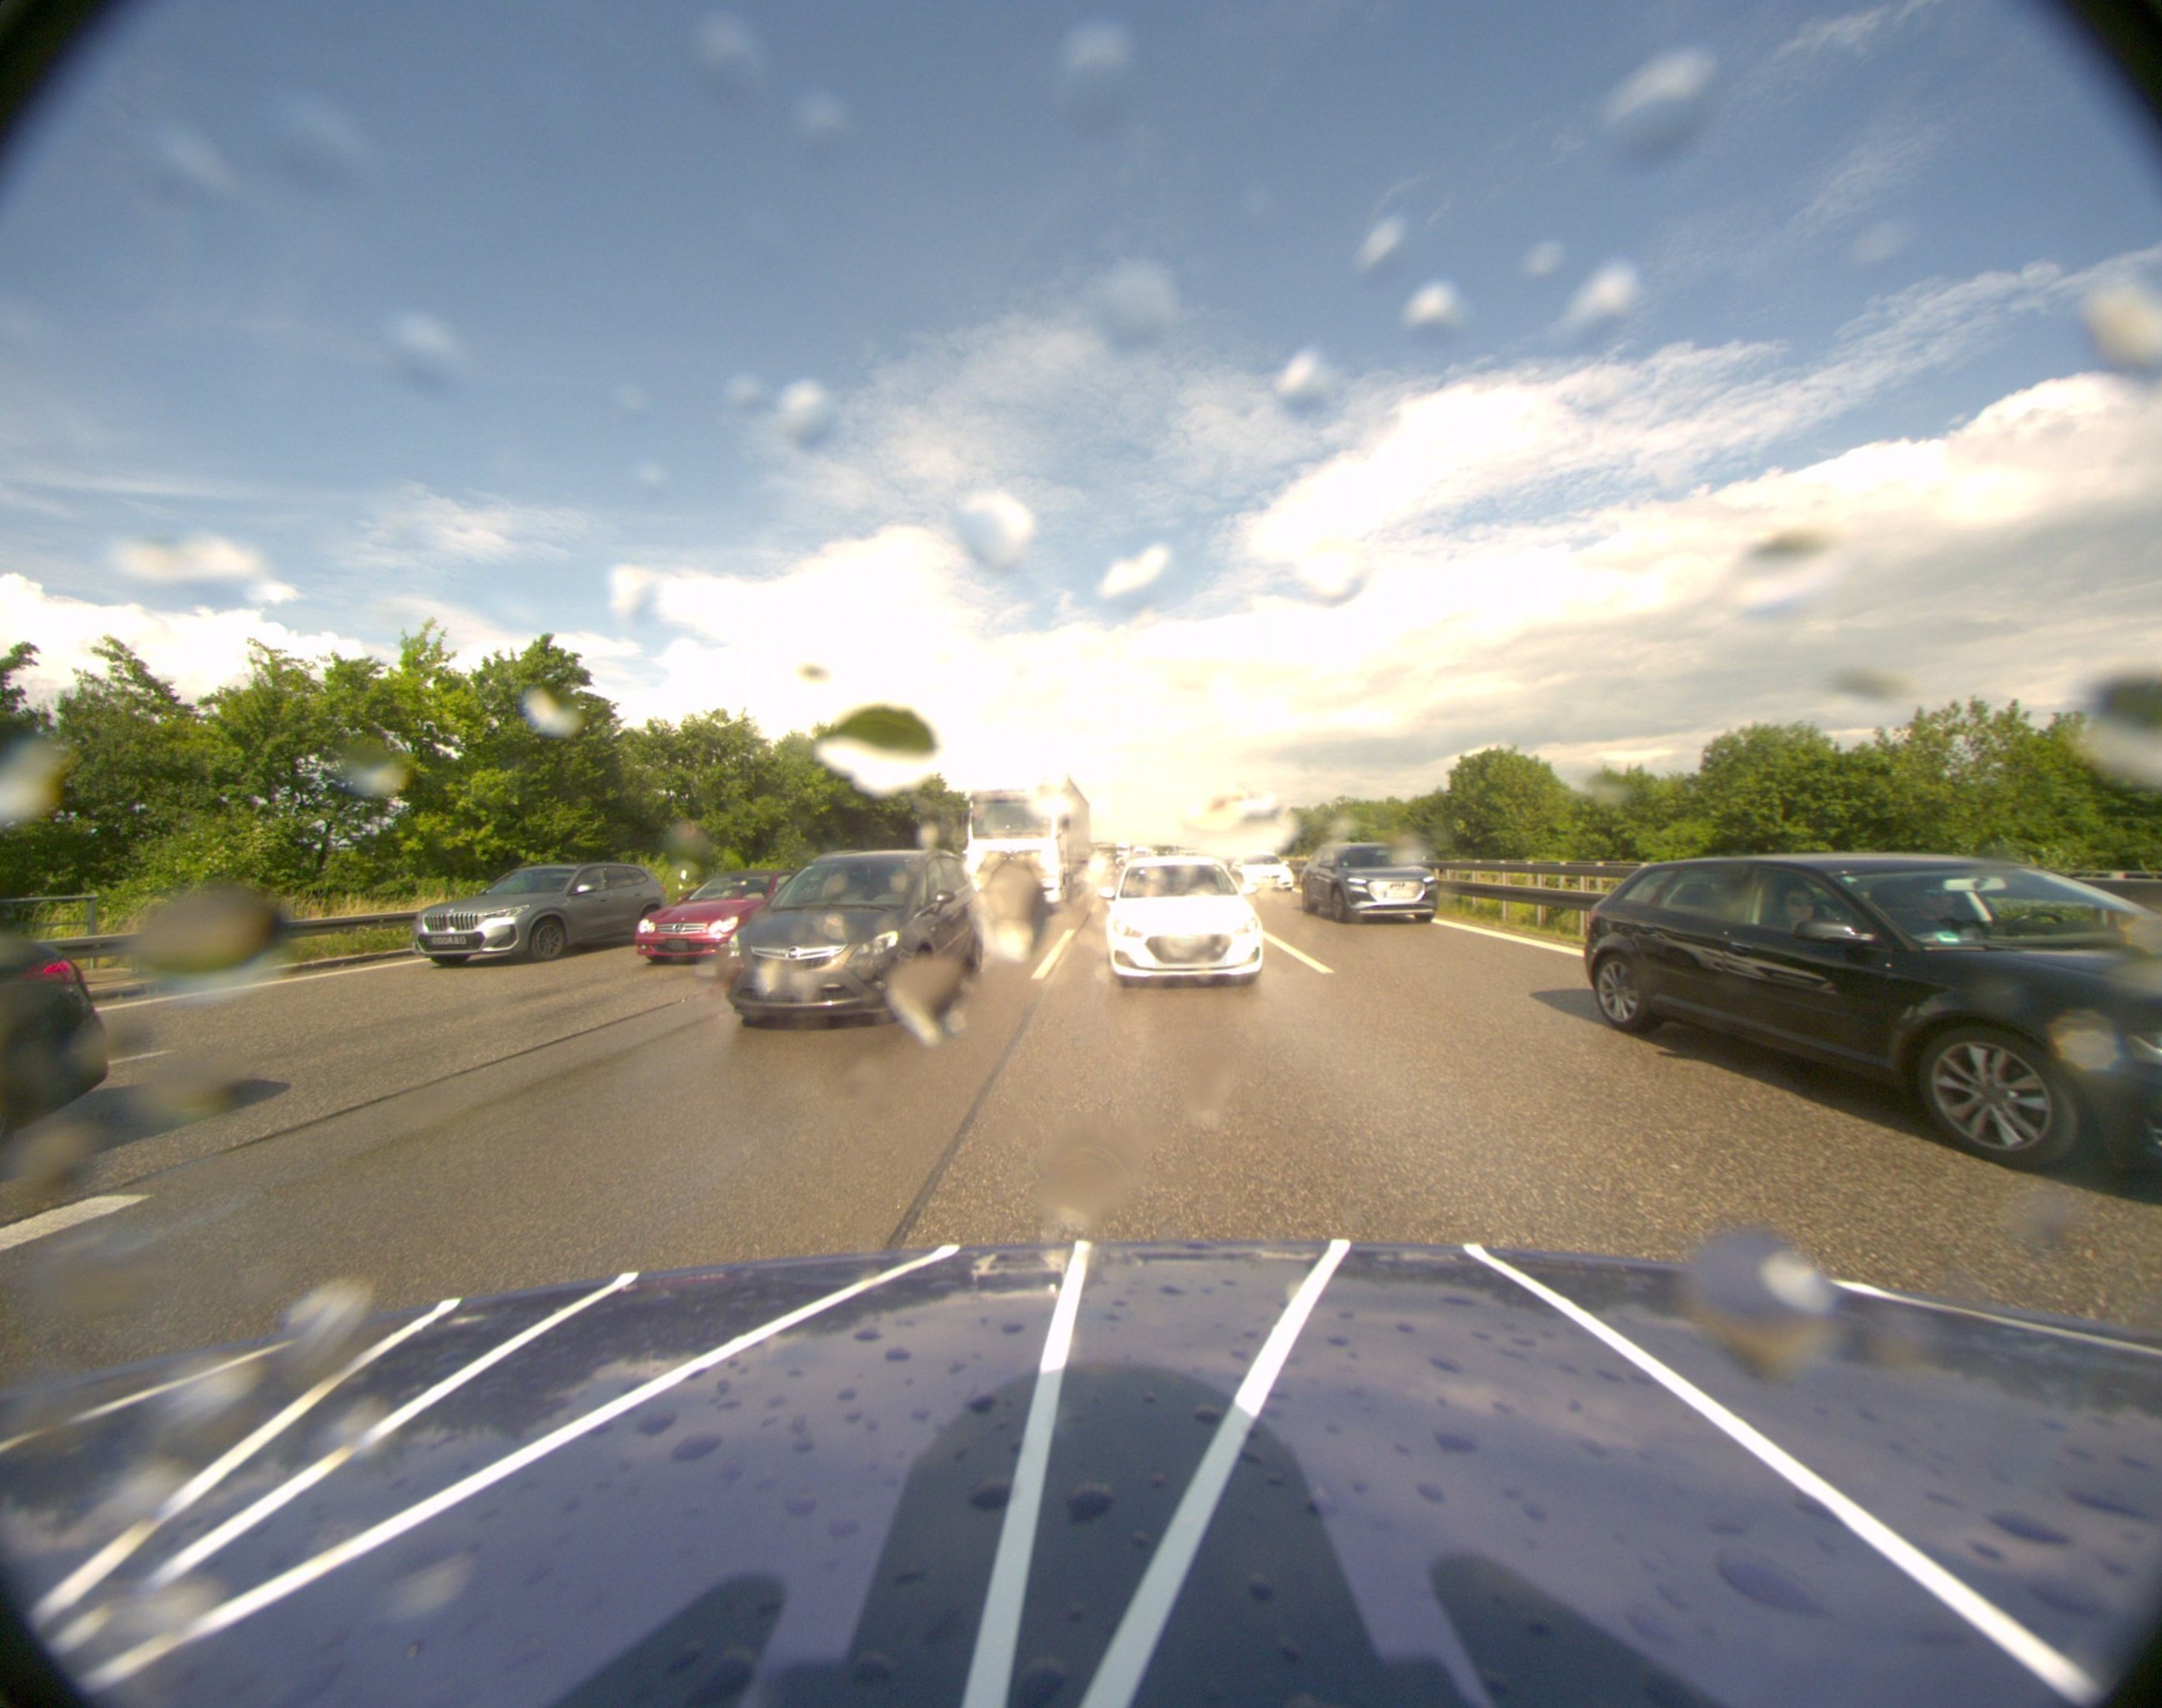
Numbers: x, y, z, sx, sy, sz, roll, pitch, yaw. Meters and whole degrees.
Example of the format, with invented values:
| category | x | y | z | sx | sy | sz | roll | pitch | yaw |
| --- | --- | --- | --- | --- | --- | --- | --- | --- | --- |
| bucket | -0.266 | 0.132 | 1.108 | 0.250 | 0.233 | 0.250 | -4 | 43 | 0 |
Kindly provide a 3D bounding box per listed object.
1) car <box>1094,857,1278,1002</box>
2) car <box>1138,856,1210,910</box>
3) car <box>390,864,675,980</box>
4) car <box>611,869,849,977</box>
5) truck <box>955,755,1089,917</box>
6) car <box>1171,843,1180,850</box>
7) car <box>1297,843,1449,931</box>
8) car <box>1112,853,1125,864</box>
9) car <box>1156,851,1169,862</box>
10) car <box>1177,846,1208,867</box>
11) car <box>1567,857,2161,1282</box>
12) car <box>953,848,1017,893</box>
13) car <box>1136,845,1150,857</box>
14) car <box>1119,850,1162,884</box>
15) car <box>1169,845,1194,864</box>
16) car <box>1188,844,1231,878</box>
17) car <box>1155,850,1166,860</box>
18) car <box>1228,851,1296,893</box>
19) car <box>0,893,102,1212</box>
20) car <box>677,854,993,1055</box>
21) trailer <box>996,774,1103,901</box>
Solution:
| category | x | y | z | sx | sy | sz | roll | pitch | yaw |
| --- | --- | --- | --- | --- | --- | --- | --- | --- | --- |
| car | 1.221 | 0.811 | 10.250 | 1.886 | 1.446 | 4.548 | -1 | 0 | 3 |
| car | 2.572 | 0.766 | 21.815 | 1.728 | 1.330 | 4.288 | -1 | 0 | 3 |
| car | -9.379 | 1.060 | 13.543 | 1.752 | 1.577 | 4.287 | -2 | 1 | 3 |
| car | -5.767 | 1.045 | 13.245 | 1.755 | 1.402 | 4.512 | -2 | 0 | 4 |
| truck | -1.501 | -0.504 | 23.441 | 2.816 | 4.083 | 7.447 | -2 | 1 | 5 |
| car | 24.084 | -1.807 | 193.175 | 1.998 | 1.768 | 4.462 | -2 | 0 | 4 |
| car | 6.042 | 0.601 | 16.292 | 1.874 | 1.597 | 4.229 | -2 | 1 | 4 |
| car | 6.210 | 0.747 | 126.763 | 1.998 | 1.687 | 4.000 | -3 | 1 | 3 |
| car | 14.331 | 0.391 | 134.316 | 1.998 | 1.687 | 4.000 | -3 | 1 | 3 |
| car | 8.973 | 0.151 | 61.341 | 1.998 | 1.471 | 4.000 | -3 | 1 | 3 |
| car | 4.913 | 0.792 | 4.391 | 1.770 | 1.417 | 4.139 | -2 | 1 | 4 |
| car | -4.309 | 0.677 | 34.959 | 1.954 | 1.875 | 5.167 | -1 | 1 | 3 |
| car | 9.873 | -0.544 | 120.358 | 1.998 | 1.687 | 4.000 | -3 | 1 | 3 |
| car | 2.934 | 0.605 | 38.156 | 1.998 | 1.477 | 4.000 | -2 | 1 | 3 |
| car | 9.596 | 0.002 | 73.057 | 1.998 | 1.687 | 4.000 | -3 | 1 | 3 |
| car | 7.560 | 0.372 | 44.947 | 1.998 | 1.739 | 4.000 | -3 | 1 | 3 |
| car | 15.365 | 0.226 | 147.063 | 1.998 | 1.687 | 4.000 | -3 | 1 | 3 |
| car | 6.748 | 0.625 | 28.655 | 1.771 | 1.371 | 4.000 | -1 | 1 | 3 |
| car | -6.525 | 1.039 | 1.892 | 1.998 | 1.572 | 4.654 | -1 | 0 | 3 |
| car | -2.332 | 0.849 | 8.583 | 1.883 | 1.638 | 4.397 | -1 | 0 | 3 |
| trailer | -0.870 | -0.605 | 30.930 | 2.789 | 4.083 | 11.541 | -2 | 1 | 5 |
